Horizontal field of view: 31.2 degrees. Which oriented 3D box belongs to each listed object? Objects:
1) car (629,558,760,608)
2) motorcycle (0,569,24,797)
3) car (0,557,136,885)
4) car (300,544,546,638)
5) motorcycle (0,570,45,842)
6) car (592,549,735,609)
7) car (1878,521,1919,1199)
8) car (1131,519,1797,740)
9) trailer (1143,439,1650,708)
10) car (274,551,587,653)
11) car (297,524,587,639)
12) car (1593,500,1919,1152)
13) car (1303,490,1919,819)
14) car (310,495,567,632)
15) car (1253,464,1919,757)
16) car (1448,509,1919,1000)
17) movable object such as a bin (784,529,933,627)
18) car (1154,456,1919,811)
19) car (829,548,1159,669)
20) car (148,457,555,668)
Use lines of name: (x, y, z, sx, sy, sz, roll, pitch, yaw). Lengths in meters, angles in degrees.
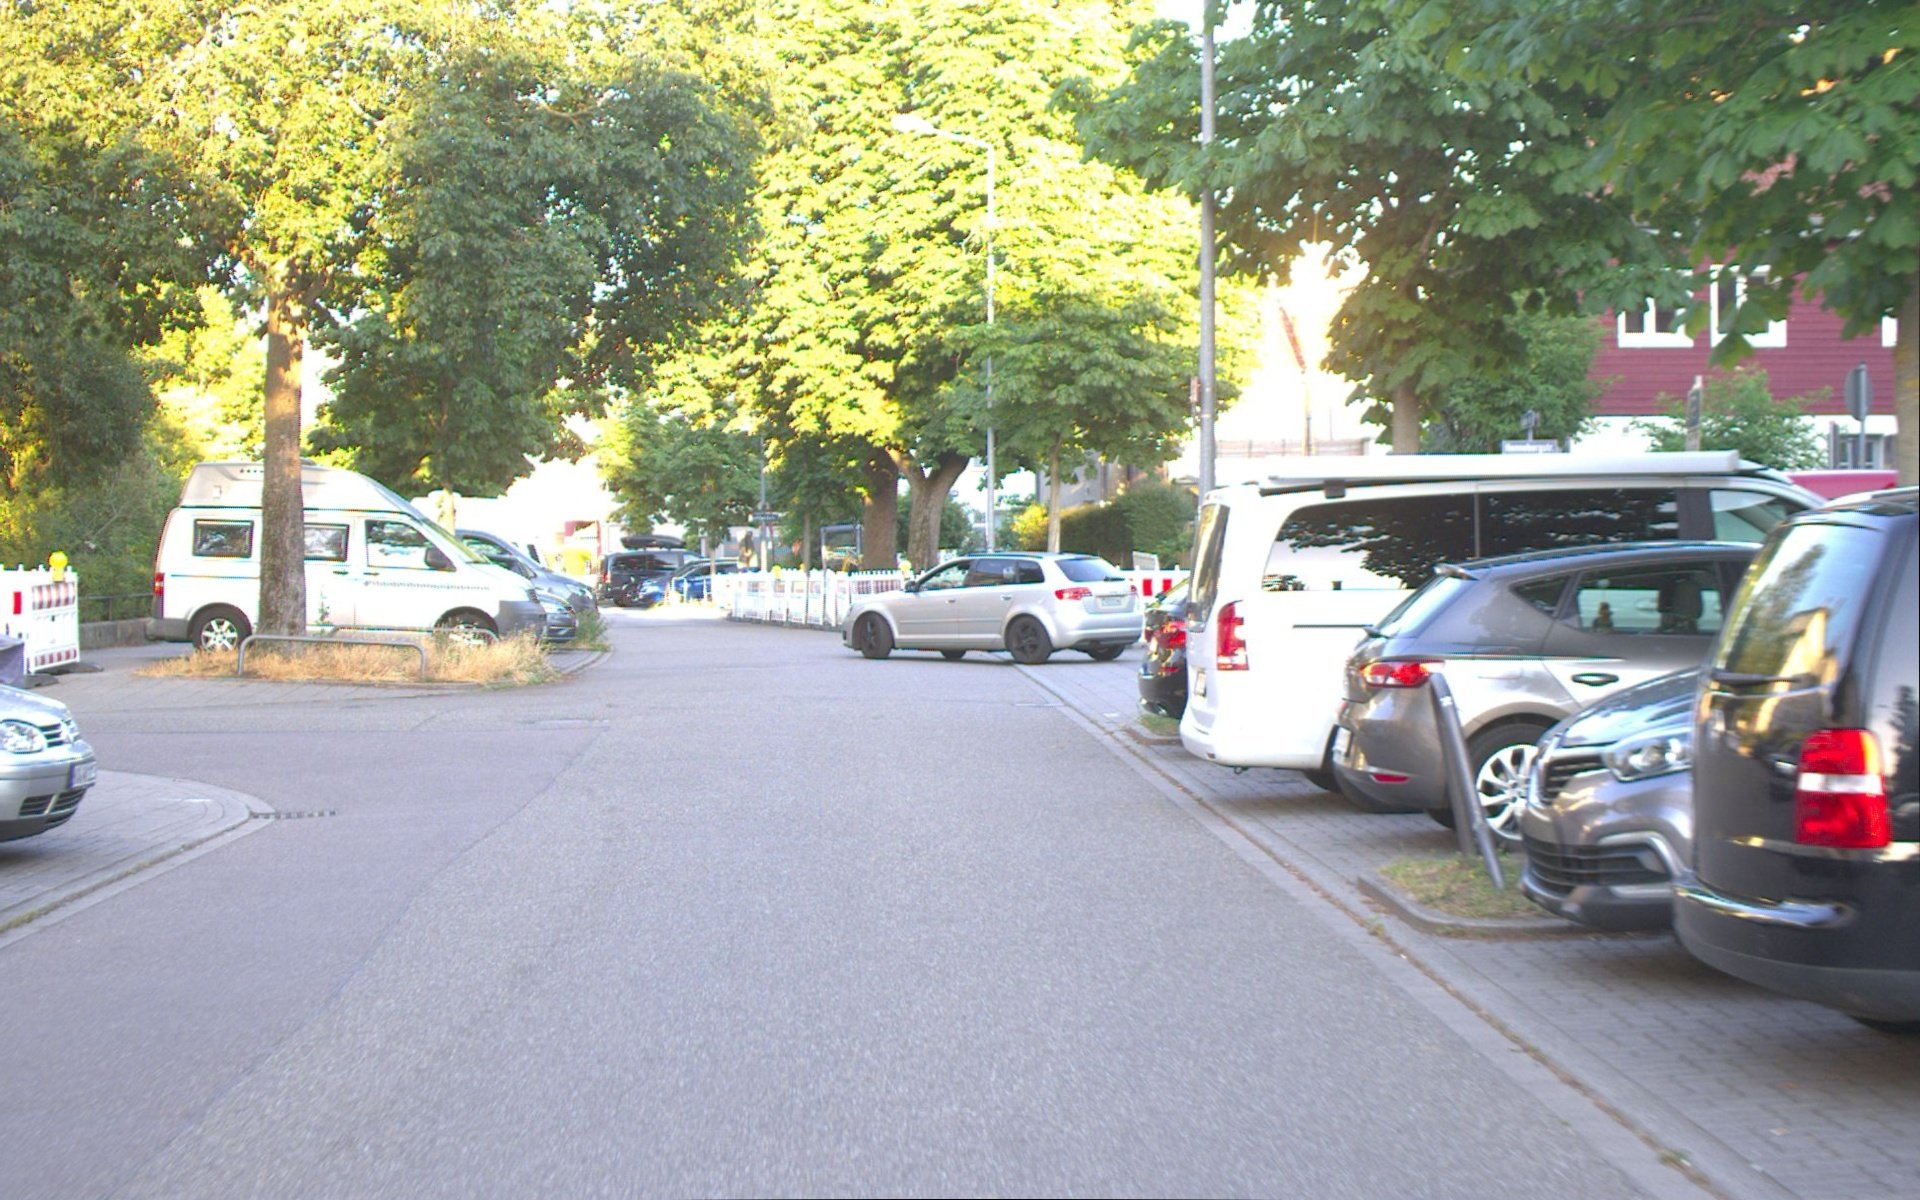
car: (-8.777, -0.572, 113.552, 3.986, 1.645, 1.765, 0, 1, -21)
motorcycle: (-7.141, 0.521, 21.733, 2.231, 1.431, 0.773, 0, 0, 2)
car: (-6.044, 0.539, 16.601, 3.713, 1.501, 1.690, 0, 1, 1)
car: (-8.456, -0.148, 54.336, 3.768, 1.434, 1.656, 1, 0, -7)
motorcycle: (-5.981, 0.554, 18.423, 1.985, 1.431, 0.722, 0, 0, -5)
car: (-10.220, -0.719, 118.360, 4.555, 2.016, 2.102, 0, 1, -18)
car: (4.366, 0.503, 6.913, 4.414, 1.569, 1.982, -3, 2, -1)
car: (3.480, 0.195, 24.304, 4.427, 1.494, 1.773, 0, 1, -1)
trailer: (3.601, -0.222, 28.952, 3.987, 2.180, 2.000, 0, 0, -1)
car: (-7.516, 0.023, 49.054, 4.243, 1.389, 1.684, 1, 0, -2)
car: (-8.552, -0.304, 56.908, 4.672, 1.867, 2.000, 0, 1, -8)
car: (3.986, 0.468, 9.597, 3.987, 1.613, 1.895, -3, 1, -1)
car: (3.762, 0.244, 16.692, 3.987, 1.504, 1.776, 0, 1, -1)
car: (-9.386, -0.659, 62.022, 4.501, 2.422, 2.000, 0, 0, -8)
car: (4.129, 0.054, 22.098, 4.300, 1.793, 1.904, 0, 0, -1)
car: (3.845, 0.486, 11.962, 3.945, 1.560, 1.821, 0, 1, -4)
movable object such as a bin: (-2.616, -0.568, 87.348, 2.627, 2.394, 5.199, 0, 1, -15)
car: (3.174, 0.173, 19.480, 3.986, 1.897, 2.000, 0, 0, -1)
car: (0.415, 0.080, 44.449, 3.996, 1.483, 1.809, 1, 1, 38)
car: (-7.531, -0.462, 42.891, 4.731, 2.561, 2.000, 0, 0, 0)
